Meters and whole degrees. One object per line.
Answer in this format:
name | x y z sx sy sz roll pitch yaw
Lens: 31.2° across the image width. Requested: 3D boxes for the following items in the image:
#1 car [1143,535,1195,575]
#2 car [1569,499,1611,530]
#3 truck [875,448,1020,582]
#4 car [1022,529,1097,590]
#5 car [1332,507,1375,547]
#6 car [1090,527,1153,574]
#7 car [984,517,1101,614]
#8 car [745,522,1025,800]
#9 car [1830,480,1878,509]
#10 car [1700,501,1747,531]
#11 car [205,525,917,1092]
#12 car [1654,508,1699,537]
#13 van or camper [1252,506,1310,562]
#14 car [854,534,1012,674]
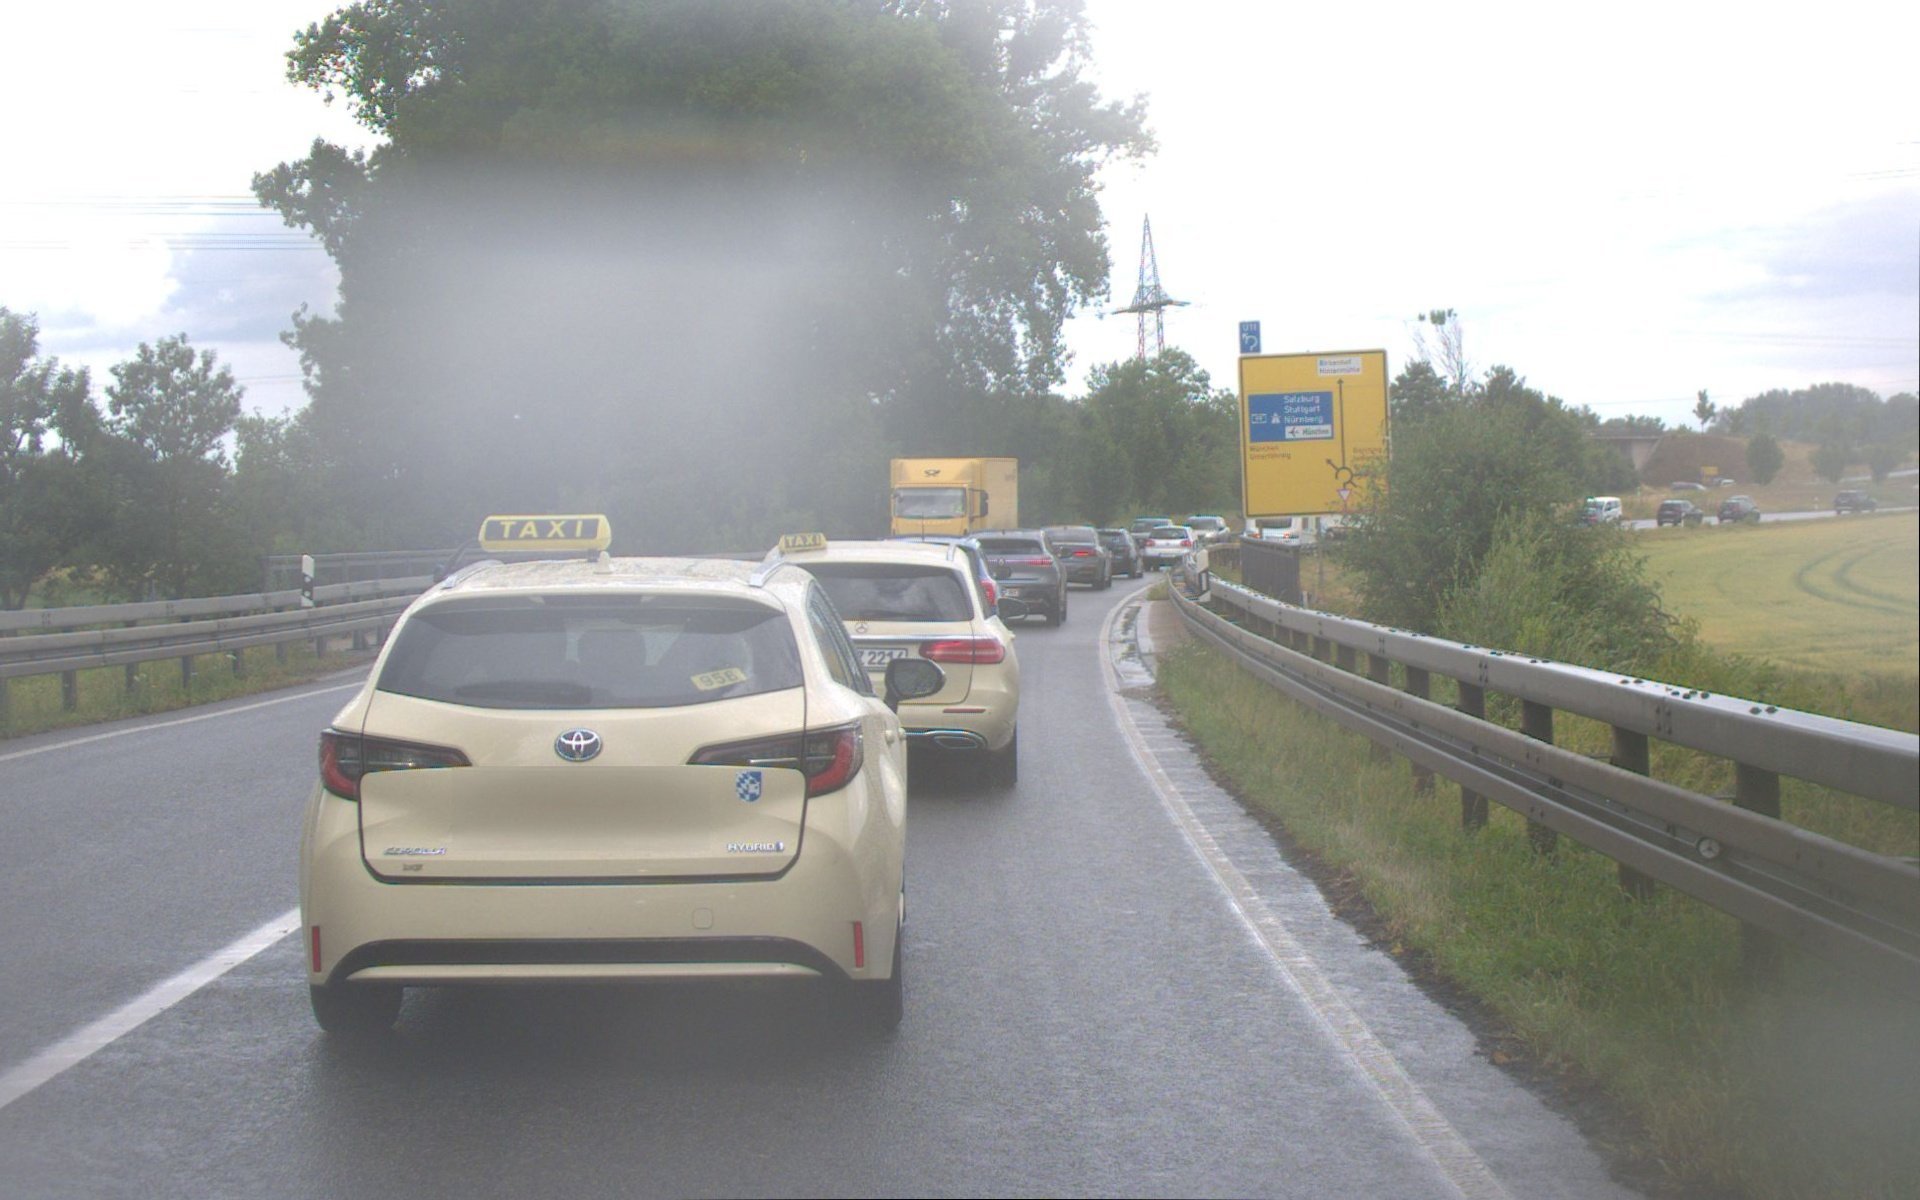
car | 6.917 -1.485 113.654 1.483 1.304 3.476 0 1 8
car | 38.260 -5.198 208.787 1.922 1.831 3.996 1 1 19
truck | -0.255 -2.398 94.128 2.771 3.417 9.186 2 3 7
car | 2.362 -0.935 80.985 1.660 1.404 3.904 0 0 3
car | 18.227 -3.374 159.088 1.732 1.813 3.998 0 1 10
car | 4.535 -1.388 96.167 1.483 1.304 3.476 0 1 8
car | 1.258 -0.551 53.643 1.665 1.459 3.477 0 1 -1
car | -0.411 0.312 21.230 1.578 1.567 3.681 0 1 0
car | 65.468 -7.710 251.685 2.145 2.007 3.992 1 1 35
car | 51.818 -5.699 233.279 1.997 2.007 3.993 1 1 31
car | -1.101 0.529 11.354 1.906 1.532 4.162 0 1 -1
car | 46.690 -5.018 224.024 1.821 1.831 3.983 1 1 27
van or camper | 13.103 -2.684 140.034 1.994 2.246 3.998 0 1 10
car | -0.252 0.013 37.046 1.506 1.432 3.355 0 1 3
